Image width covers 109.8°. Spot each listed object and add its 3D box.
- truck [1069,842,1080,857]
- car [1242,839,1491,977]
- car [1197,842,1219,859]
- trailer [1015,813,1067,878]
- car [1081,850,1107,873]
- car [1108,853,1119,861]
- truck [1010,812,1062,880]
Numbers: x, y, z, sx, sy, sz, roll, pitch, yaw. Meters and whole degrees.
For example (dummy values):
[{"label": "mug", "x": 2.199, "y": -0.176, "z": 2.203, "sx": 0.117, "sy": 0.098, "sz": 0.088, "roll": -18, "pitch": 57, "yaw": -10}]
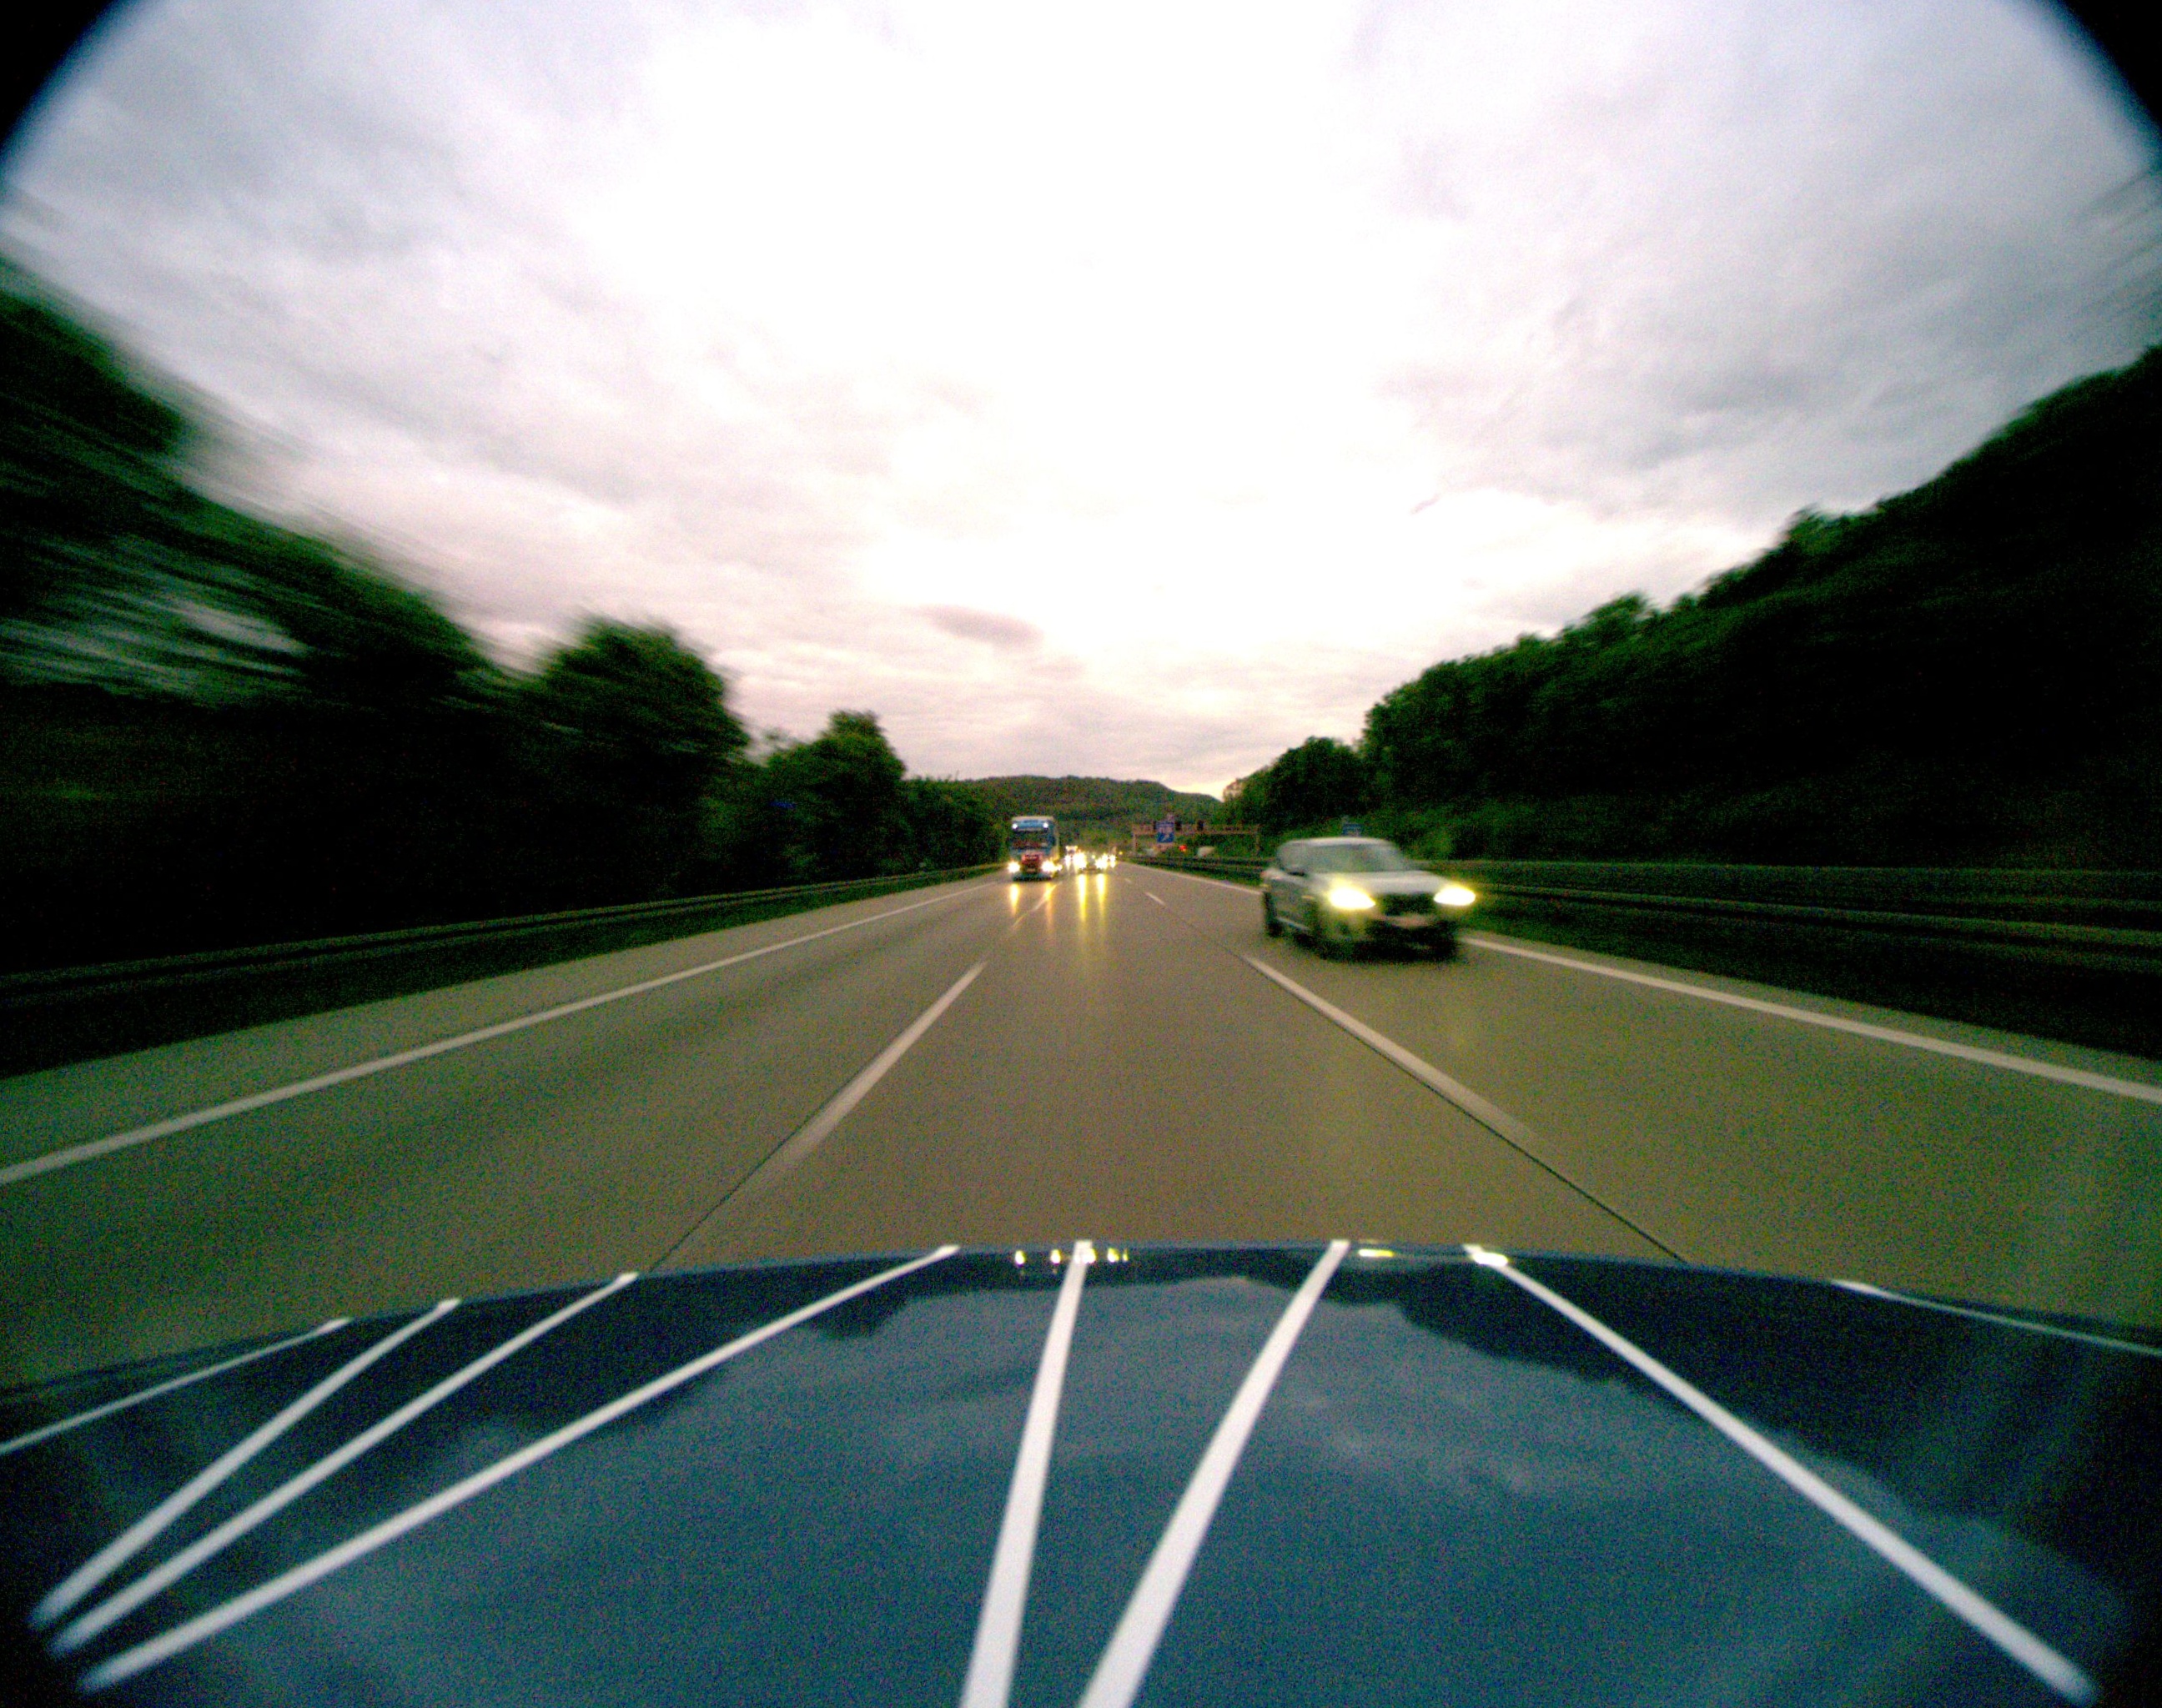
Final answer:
[{"label": "truck", "x": -1.776, "y": -1.156, "z": 202.213, "sx": 2.623, "sy": 3.805, "sz": 10.385, "roll": -1, "pitch": 1, "yaw": 0}, {"label": "car", "x": 4.128, "y": 0.650, "z": 12.193, "sx": 1.894, "sy": 1.650, "sz": 5.639, "roll": -2, "pitch": 0, "yaw": 1}, {"label": "car", "x": 18.771, "y": -0.535, "z": 112.730, "sx": 2.143, "sy": 2.345, "sz": 6.719, "roll": -1, "pitch": 0, "yaw": 0}, {"label": "trailer", "x": -2.685, "y": -0.602, "z": 55.281, "sx": 2.779, "sy": 4.062, "sz": 13.738, "roll": -2, "pitch": 0, "yaw": 1}, {"label": "car", "x": 1.032, "y": 0.536, "z": 59.382, "sx": 1.927, "sy": 1.674, "sz": 4.807, "roll": -1, "pitch": 1, "yaw": 2}, {"label": "car", "x": 6.343, "y": 0.655, "z": 149.160, "sx": 1.898, "sy": 1.503, "sz": 4.000, "roll": -1, "pitch": 0, "yaw": 0}, {"label": "truck", "x": -2.775, "y": -0.502, "z": 48.126, "sx": 2.743, "sy": 3.973, "sz": 5.849, "roll": -2, "pitch": 1, "yaw": 1}]
